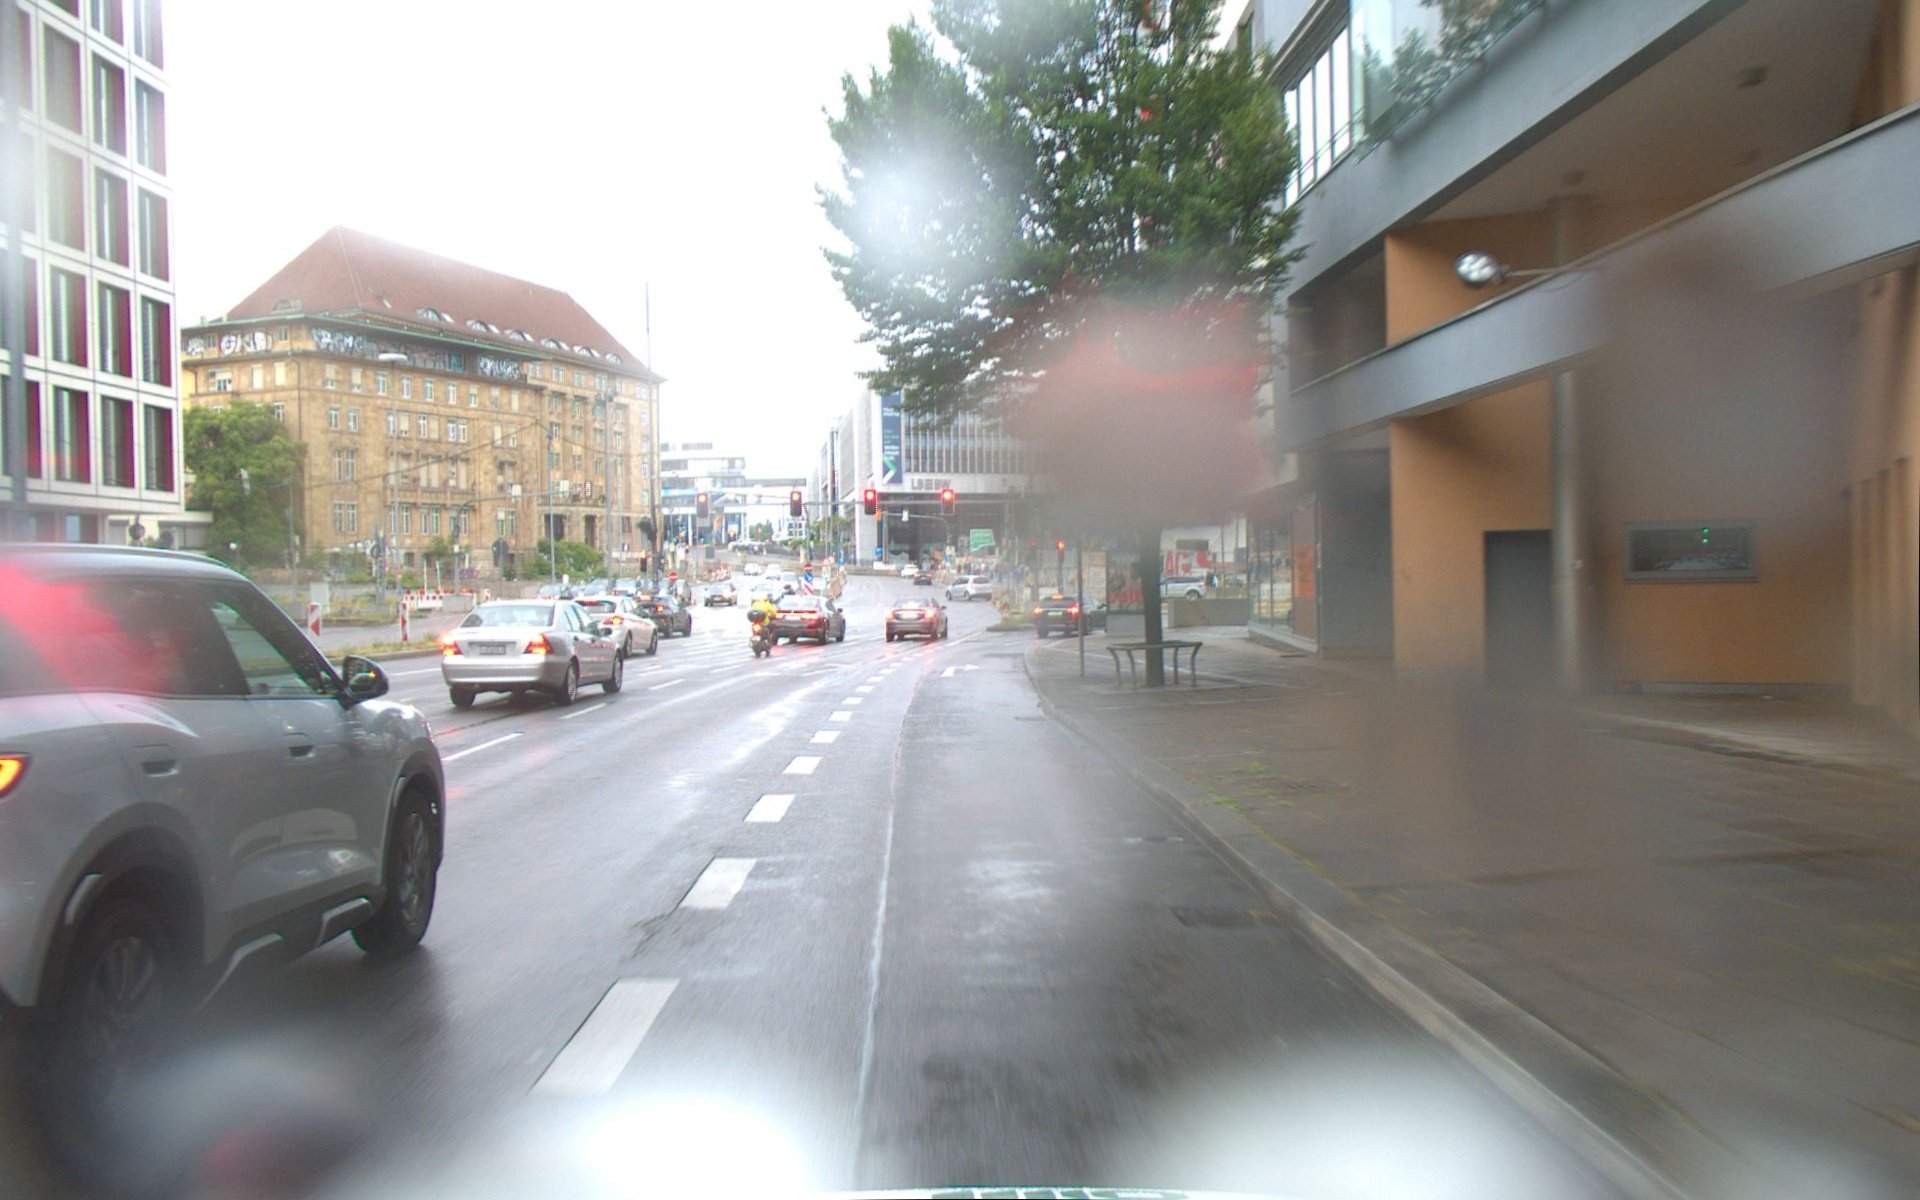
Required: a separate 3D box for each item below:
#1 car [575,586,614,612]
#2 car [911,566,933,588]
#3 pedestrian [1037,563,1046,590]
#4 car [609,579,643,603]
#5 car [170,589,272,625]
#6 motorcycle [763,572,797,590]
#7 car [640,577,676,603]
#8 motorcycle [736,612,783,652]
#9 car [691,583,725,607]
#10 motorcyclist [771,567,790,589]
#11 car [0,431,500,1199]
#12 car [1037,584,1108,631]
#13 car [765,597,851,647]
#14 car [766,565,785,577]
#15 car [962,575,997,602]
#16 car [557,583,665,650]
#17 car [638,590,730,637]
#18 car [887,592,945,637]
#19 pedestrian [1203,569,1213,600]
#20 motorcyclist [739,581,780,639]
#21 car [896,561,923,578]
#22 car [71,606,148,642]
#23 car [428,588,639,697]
[{"bbox_3d":[-23.262,-0.066,105.265,1.663,1.545,3.873,-2,-1,-1],"label":"car"},{"bbox_3d":[-3.721,-2.264,162.934,1.954,2.049,3.996,1,-1,-4],"label":"car"},{"bbox_3d":[5.943,-1.705,121.047,0.358,1.931,0.569,1,-2,-35],"label":"pedestrian"},{"bbox_3d":[-23.130,-0.616,114.650,1.664,1.601,3.997,1,-1,-3],"label":"car"},{"bbox_3d":[-36.342,0.371,81.452,4.312,1.691,1.990,1,-1,-18],"label":"car"},{"bbox_3d":[-12.016,-1.288,110.357,2.123,1.128,0.839,2,-2,-40],"label":"motorcycle"},{"bbox_3d":[-20.001,-0.642,109.609,1.766,1.601,4.072,1,-1,-3],"label":"car"},{"bbox_3d":[-5.250,0.830,43.412,0.922,1.007,2.294,1,-1,0],"label":"motorcycle"},{"bbox_3d":[-16.047,-0.334,105.446,1.785,1.512,3.997,-1,0,-3],"label":"car"},{"bbox_3d":[-11.993,-1.459,110.397,0.939,1.382,0.837,2,-2,-40],"label":"motorcyclist"},{"bbox_3d":[-2.990,0.514,5.573,1.771,1.690,4.169,1,-1,-1],"label":"car"},{"bbox_3d":[4.003,0.284,58.368,1.851,1.571,3.996,0,-1,14],"label":"car"},{"bbox_3d":[-4.888,0.738,53.724,1.847,1.541,5.005,0,-1,6],"label":"car"},{"bbox_3d":[-21.470,-3.387,192.796,1.731,1.283,4.193,1,-1,-1],"label":"car"},{"bbox_3d":[1.271,-0.780,110.069,1.696,1.668,3.427,1,2,-10],"label":"car"},{"bbox_3d":[-9.056,0.447,43.194,1.696,1.644,4.002,0,-1,4],"label":"car"},{"bbox_3d":[-9.940,0.523,59.821,1.745,1.628,4.075,0,-1,15],"label":"car"},{"bbox_3d":[-1.477,0.472,56.845,1.746,1.427,4.487,0,1,2],"label":"car"},{"bbox_3d":[15.871,-0.997,105.765,0.564,1.931,0.361,0,-2,33],"label":"pedestrian"},{"bbox_3d":[-5.251,0.266,43.465,0.922,1.501,1.100,0,-1,0],"label":"motorcyclist"},{"bbox_3d":[-5.926,-3.546,193.725,1.965,1.848,3.975,1,-1,-21],"label":"car"},{"bbox_3d":[-38.850,1.093,75.538,3.924,1.624,1.667,0,-2,39],"label":"car"},{"bbox_3d":[-6.069,0.603,24.061,1.696,1.428,4.384,0,-1,3],"label":"car"}]
